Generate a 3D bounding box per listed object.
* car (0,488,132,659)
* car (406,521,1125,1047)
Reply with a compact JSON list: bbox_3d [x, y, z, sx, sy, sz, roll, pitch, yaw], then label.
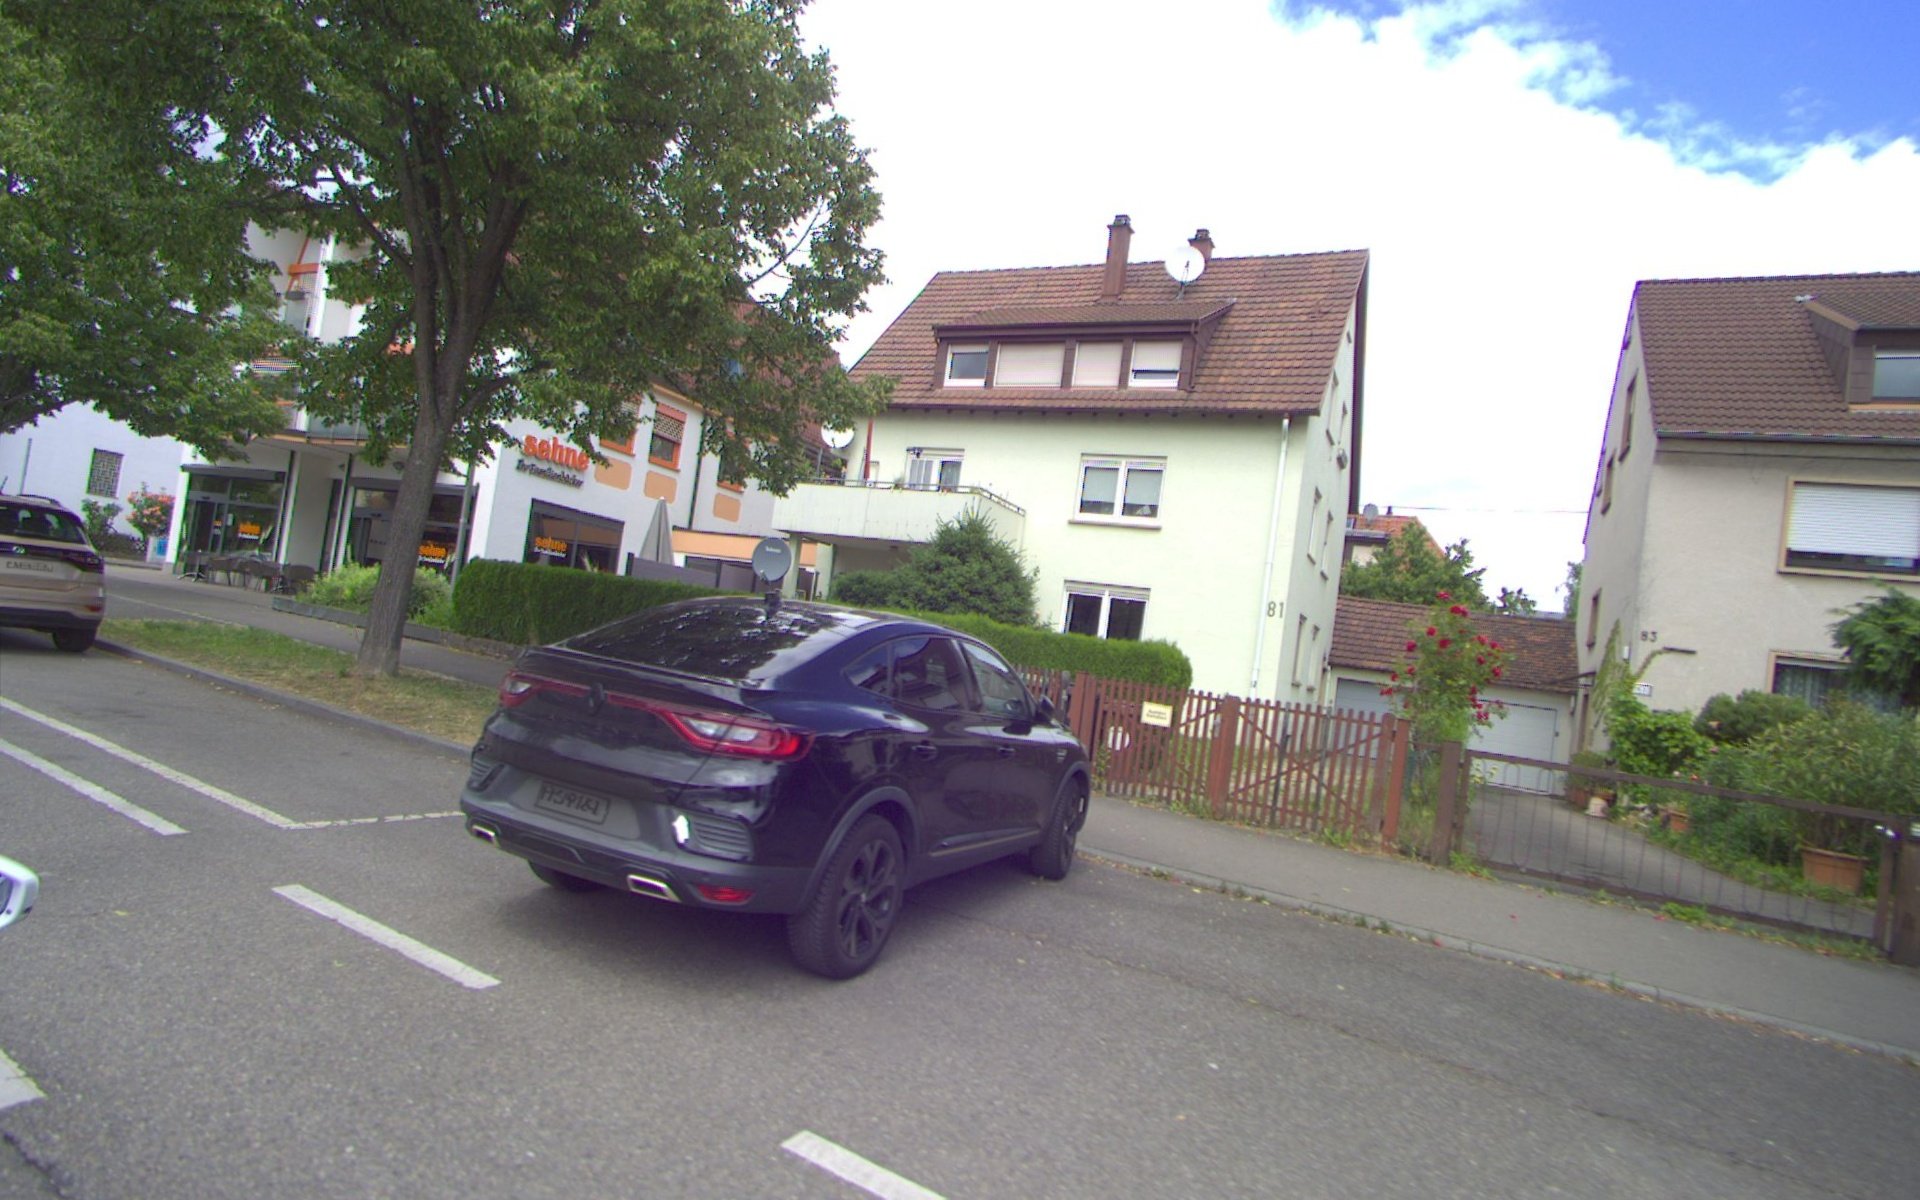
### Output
[{"bbox_3d":[-10.935,-0.471,10.735,3.991,1.598,1.727,7,-2,28],"label":"car"},{"bbox_3d":[-0.536,0.768,5.670,1.663,1.657,4.230,7,-2,25],"label":"car"}]
